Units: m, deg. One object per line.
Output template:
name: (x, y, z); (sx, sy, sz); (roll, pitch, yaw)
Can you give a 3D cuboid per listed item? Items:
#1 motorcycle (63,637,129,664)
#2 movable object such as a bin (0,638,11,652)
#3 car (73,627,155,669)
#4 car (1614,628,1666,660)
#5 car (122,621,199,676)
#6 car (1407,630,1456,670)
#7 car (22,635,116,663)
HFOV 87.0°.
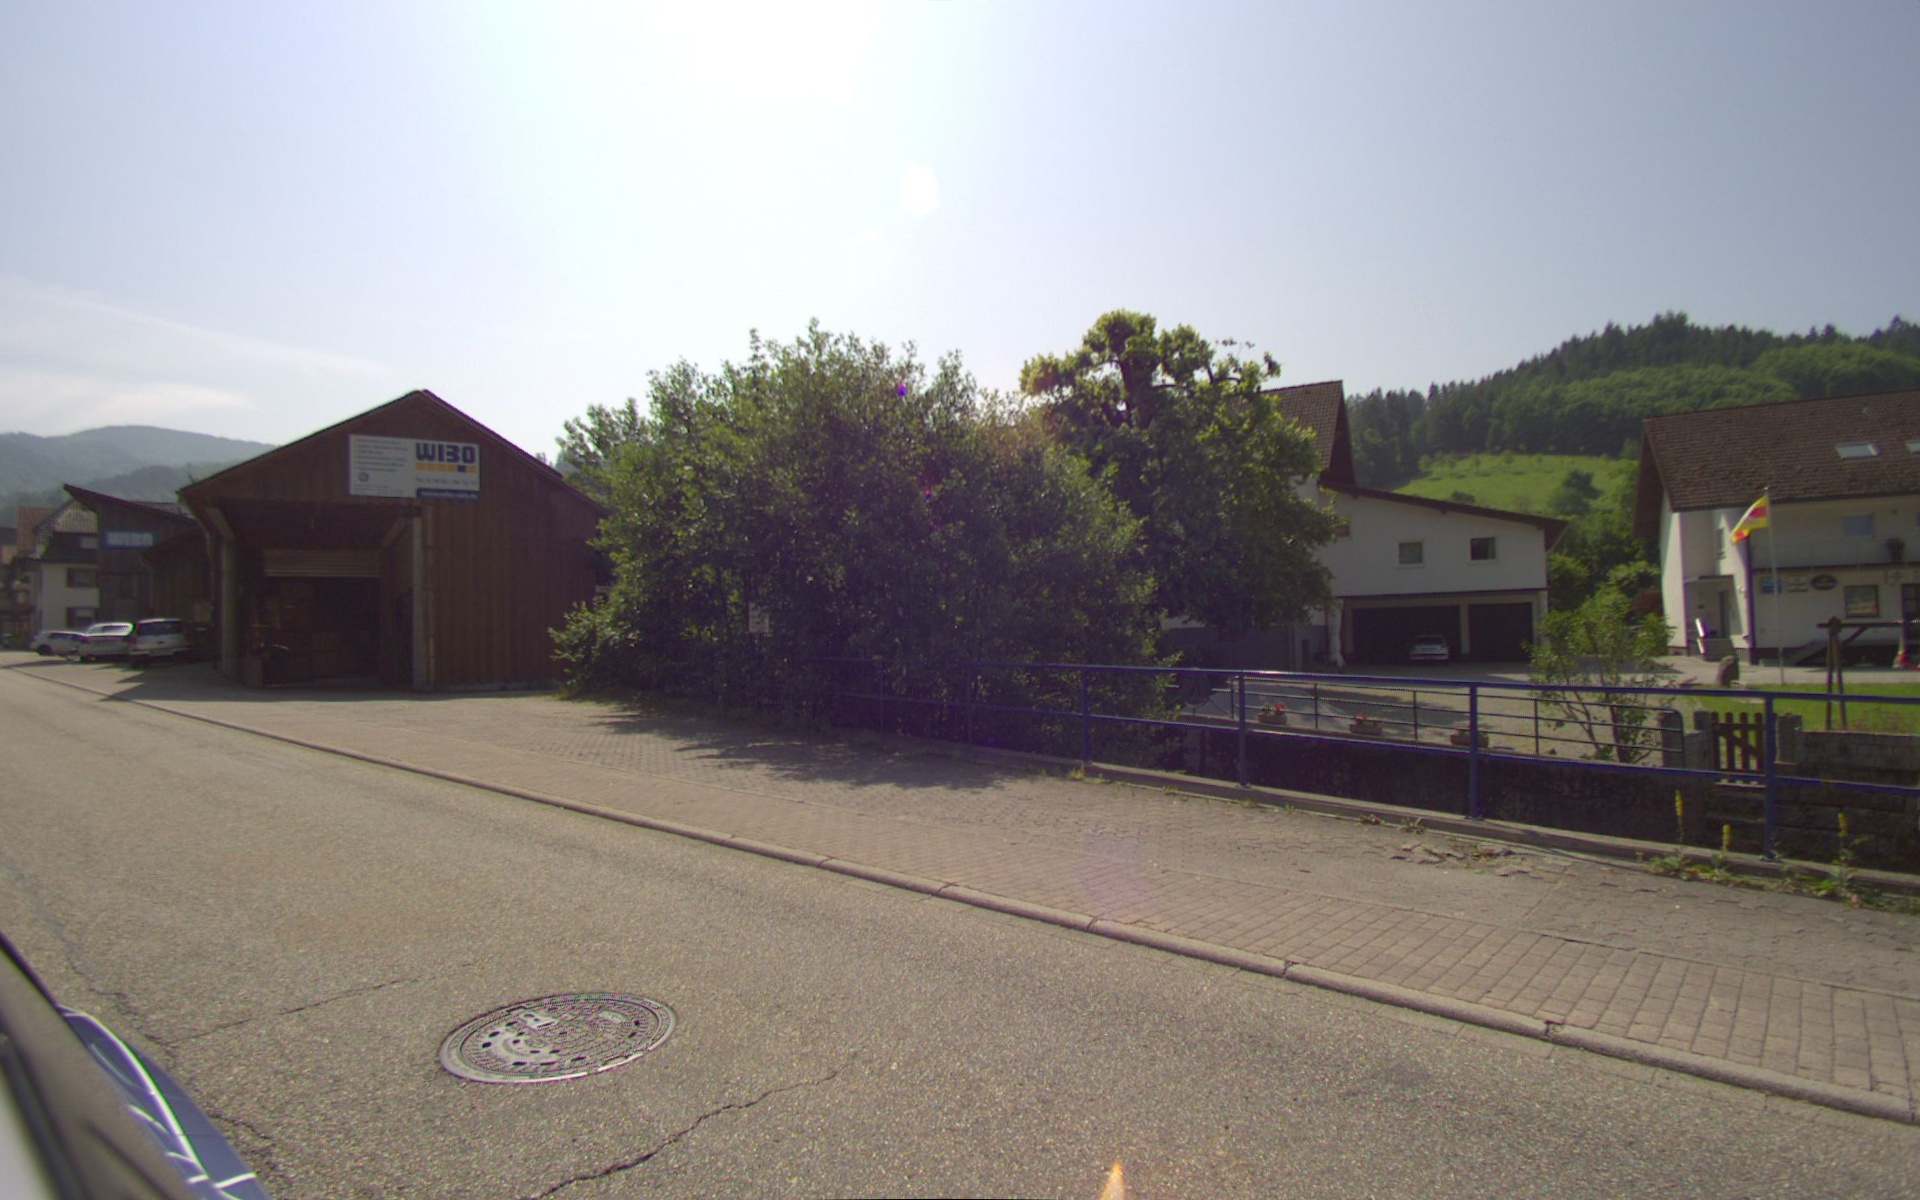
motorcycle: (-42.812, 2.492, 50.179); (2.376, 1.274, 0.745); (1, -3, -35)
movable object such as a bin: (-74.562, 3.527, 79.005); (0.621, 1.075, 0.668); (-2, -3, 44)
car: (-32.828, 1.871, 39.380); (1.705, 1.465, 4.818); (0, -3, -31)
car: (33.358, 2.137, 49.685); (1.609, 1.477, 3.285); (-1, -1, 26)
car: (-26.273, 1.570, 33.343); (1.559, 1.582, 4.034); (-3, 0, -33)
car: (21.901, 2.271, 46.928); (1.757, 1.689, 3.766); (-1, -1, 29)
car: (-50.383, 2.772, 57.290); (3.608, 1.396, 1.716); (5, -5, -29)
